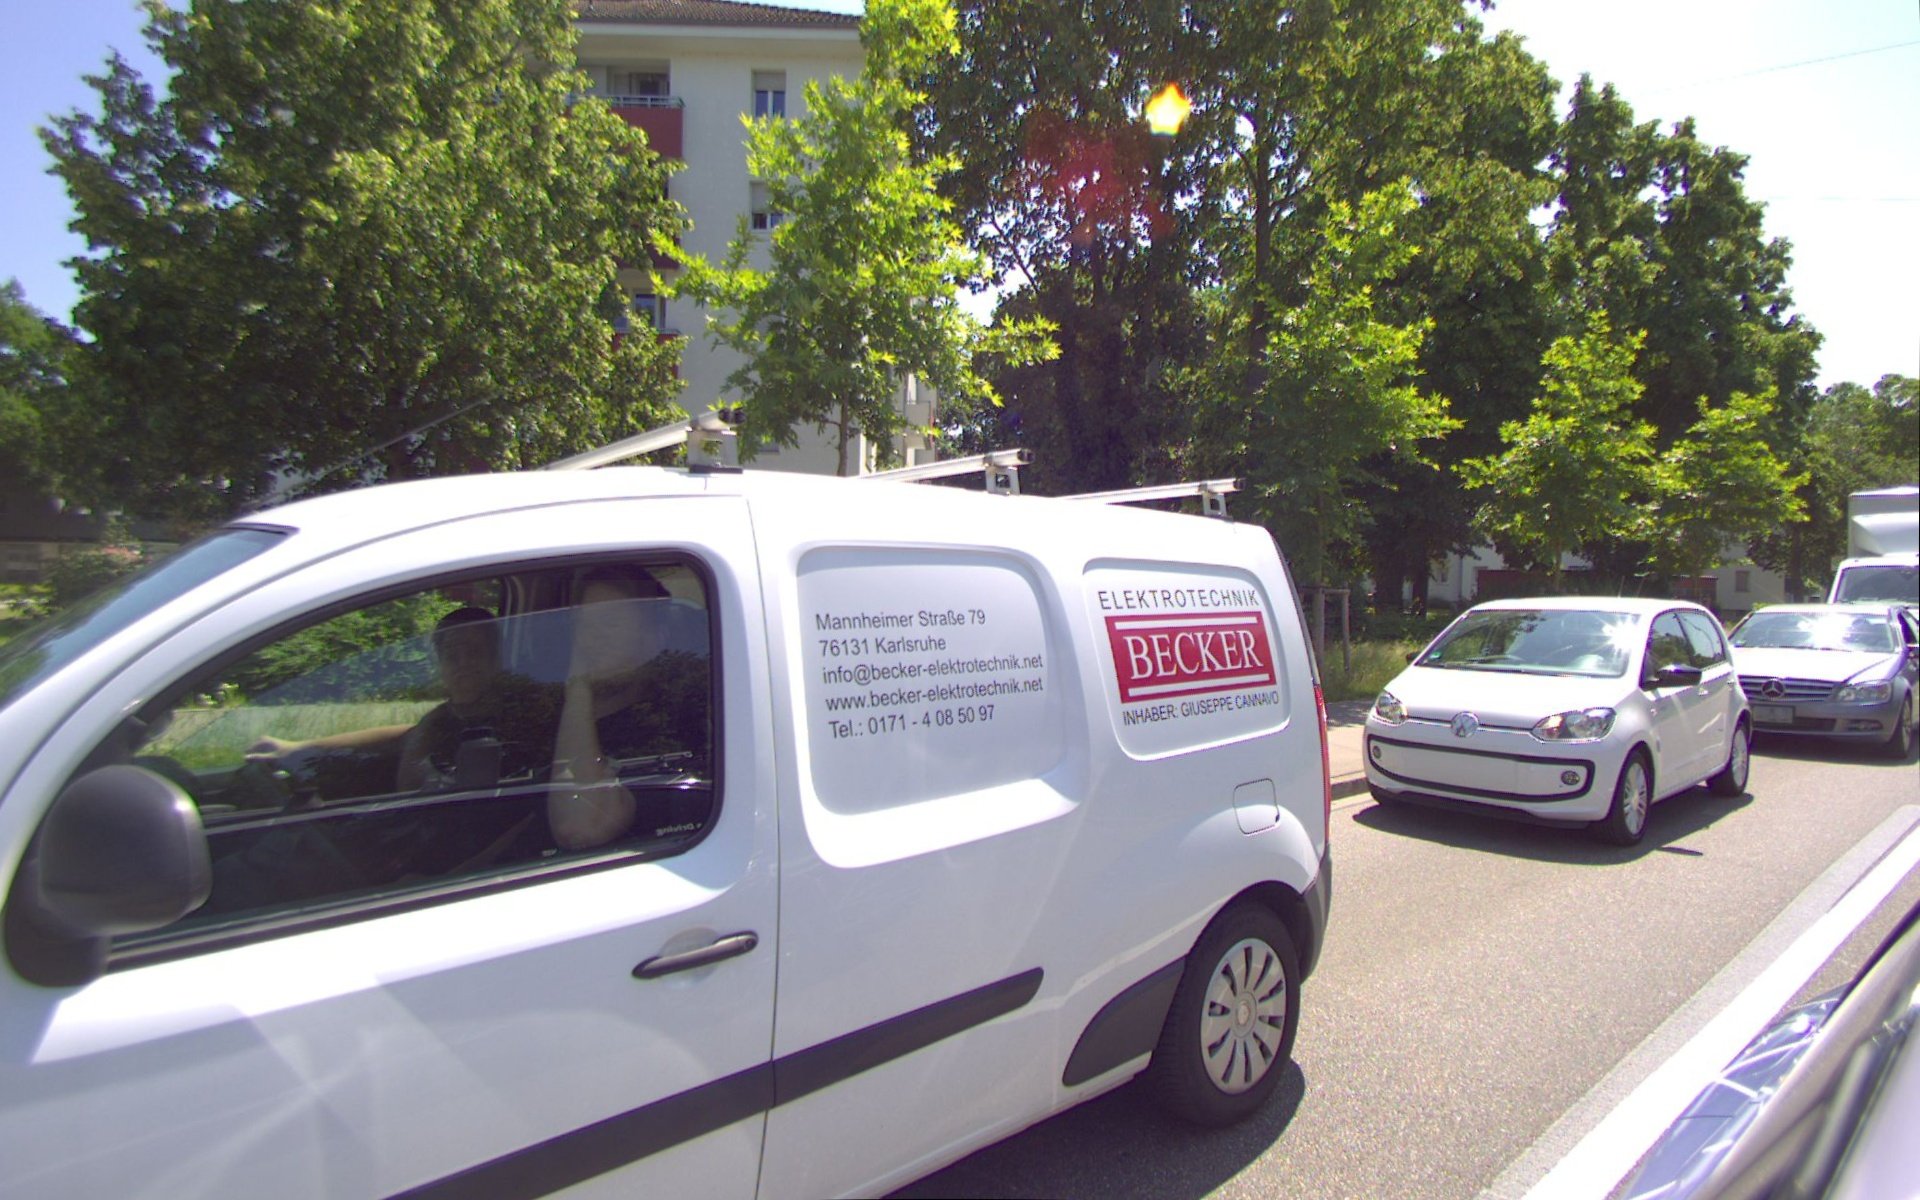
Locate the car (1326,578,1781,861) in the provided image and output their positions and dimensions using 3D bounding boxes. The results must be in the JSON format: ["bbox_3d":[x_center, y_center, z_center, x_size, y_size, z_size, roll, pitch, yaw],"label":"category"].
[{"bbox_3d":[4.400,0.621,7.293,3.705,1.497,1.729,0,1,-41],"label":"car"}]

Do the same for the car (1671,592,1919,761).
[{"bbox_3d":[9.233,0.653,10.743,4.016,1.426,1.839,0,1,-41],"label":"car"}]

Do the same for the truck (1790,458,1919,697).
[{"bbox_3d":[16.516,-0.338,16.979,7.778,3.387,2.434,0,1,-39],"label":"truck"}]

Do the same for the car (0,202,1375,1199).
[{"bbox_3d":[-0.992,0.453,2.539,4.370,1.849,1.997,0,1,-41],"label":"car"}]
